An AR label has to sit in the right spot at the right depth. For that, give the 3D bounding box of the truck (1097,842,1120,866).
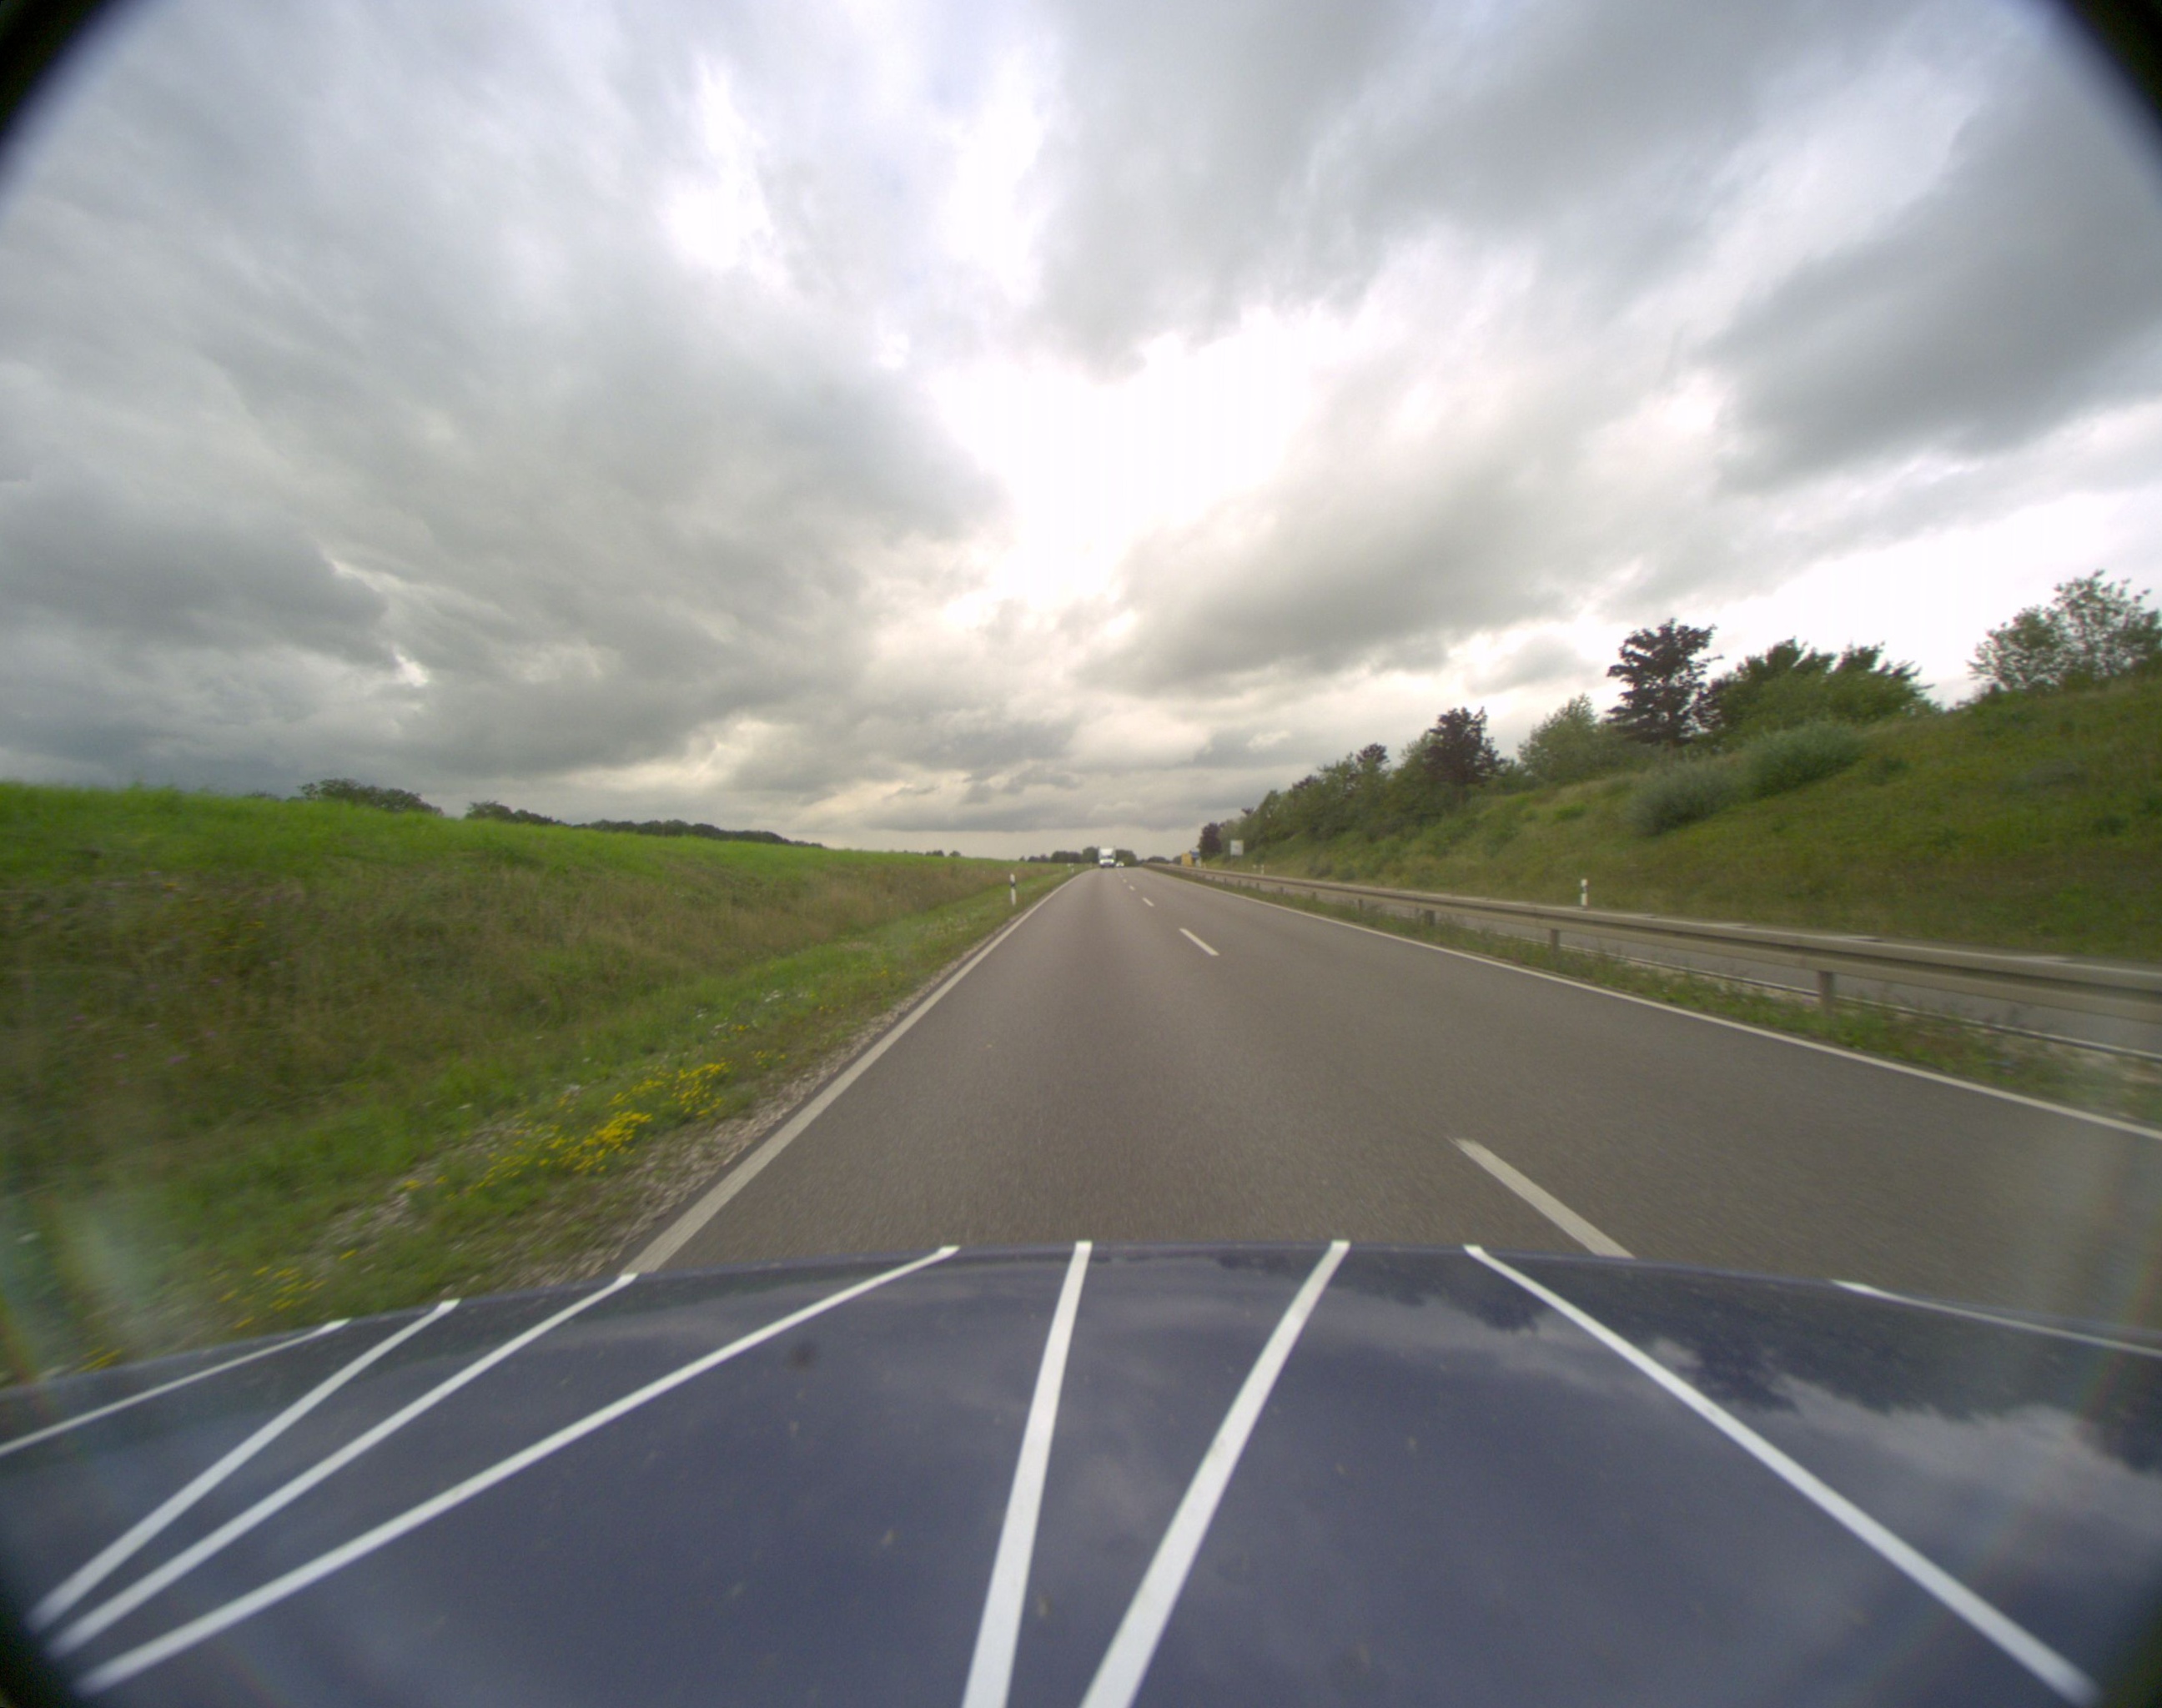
[{"bbox_3d":[4.484,0.030,122.637,2.933,3.651,8.450,0,-2,7],"label":"truck"}]

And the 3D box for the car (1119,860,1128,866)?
[{"bbox_3d":[11.244,2.460,202.222,2.090,1.509,4.197,0,-2,7],"label":"car"}]
